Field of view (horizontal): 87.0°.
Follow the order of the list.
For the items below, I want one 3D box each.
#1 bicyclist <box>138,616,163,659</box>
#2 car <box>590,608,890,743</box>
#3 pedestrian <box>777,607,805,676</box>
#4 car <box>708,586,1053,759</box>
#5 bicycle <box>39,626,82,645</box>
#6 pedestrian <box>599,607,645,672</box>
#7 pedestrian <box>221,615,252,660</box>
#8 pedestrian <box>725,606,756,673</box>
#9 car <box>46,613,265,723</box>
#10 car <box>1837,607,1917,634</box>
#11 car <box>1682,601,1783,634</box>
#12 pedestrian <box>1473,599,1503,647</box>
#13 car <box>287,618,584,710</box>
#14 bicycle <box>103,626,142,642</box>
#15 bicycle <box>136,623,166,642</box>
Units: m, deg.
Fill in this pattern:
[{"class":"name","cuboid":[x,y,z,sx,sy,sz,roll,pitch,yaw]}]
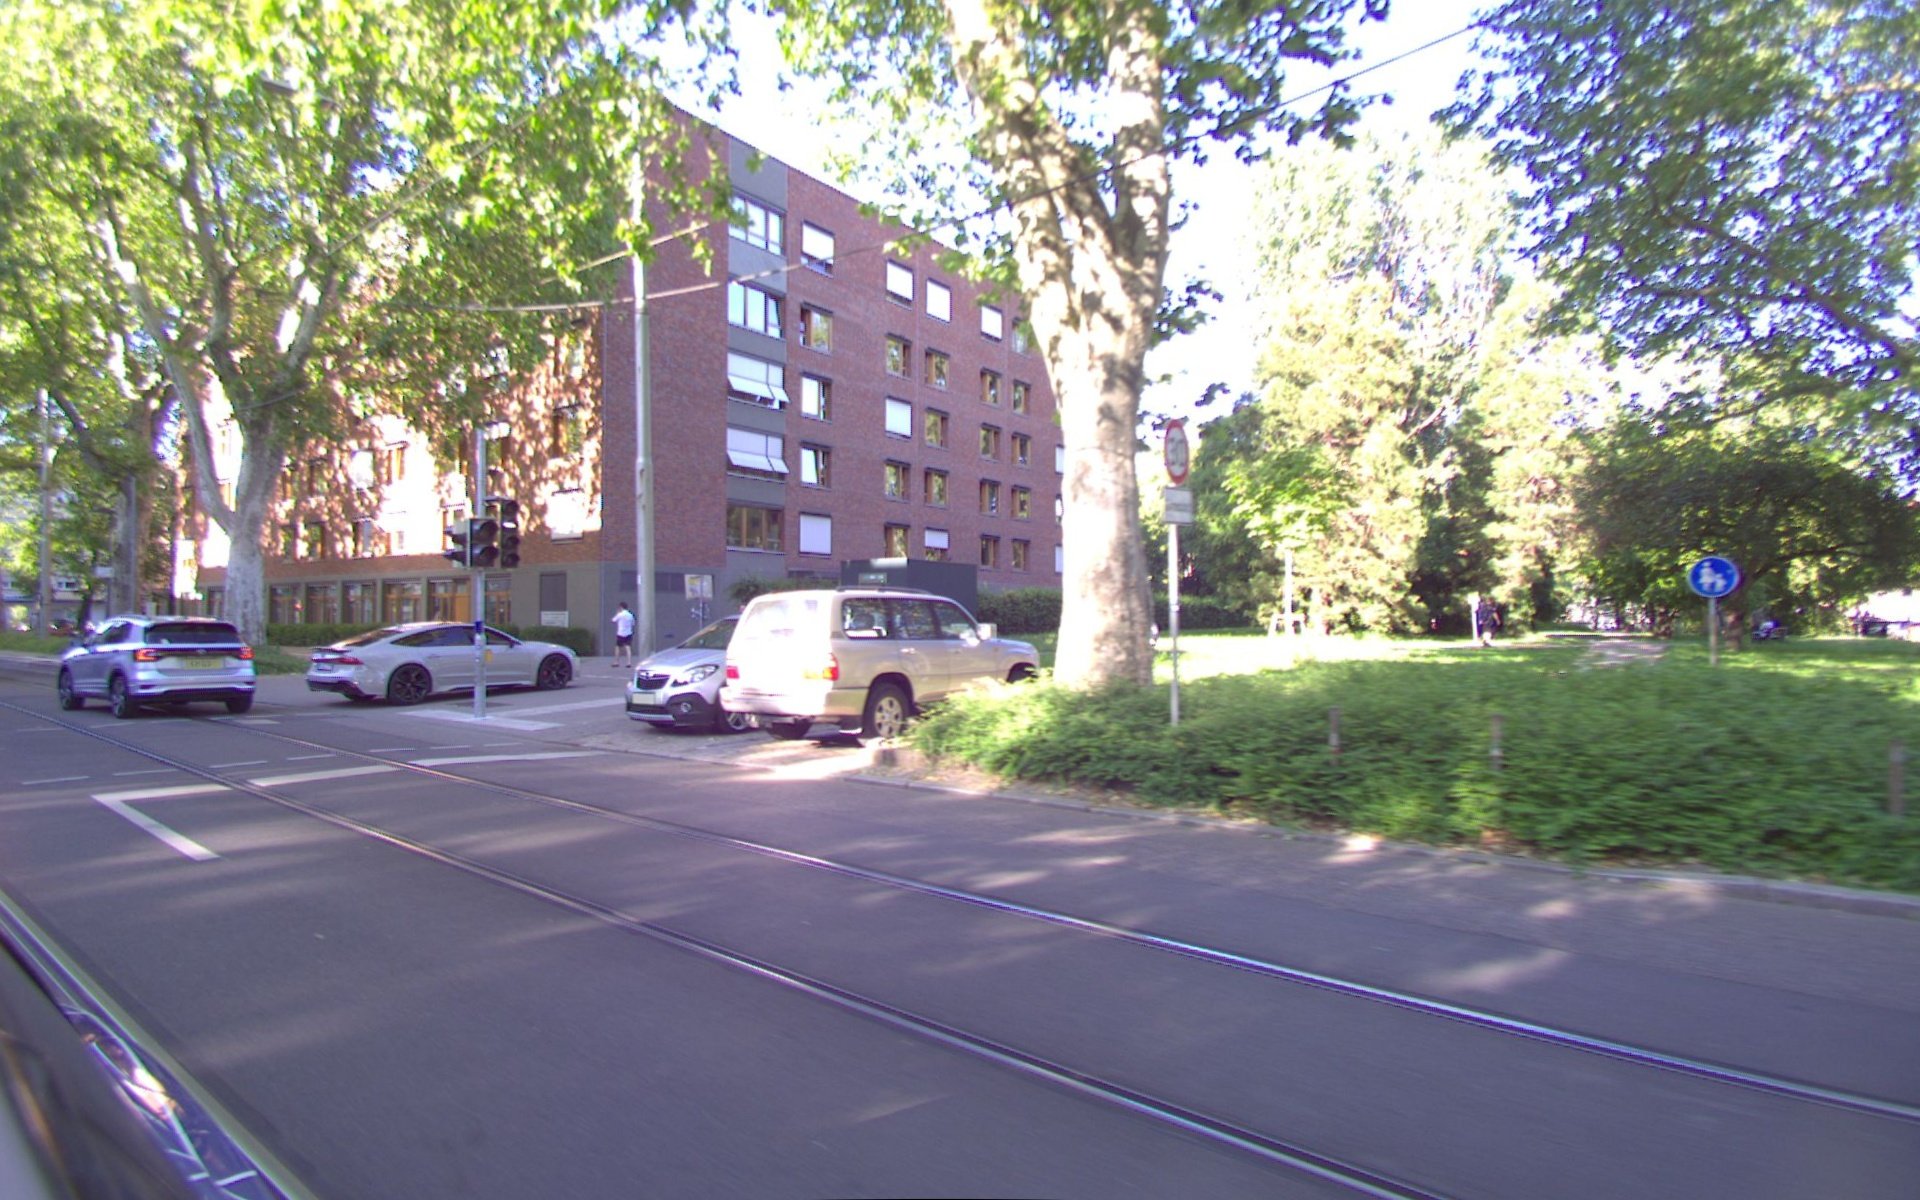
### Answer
[{"class":"bicyclist","cuboid":[-34.875,1.614,43.599,0.838,1.801,0.693,-1,-1,38]},{"class":"car","cuboid":[-3.040,0.955,14.767,1.898,1.659,4.104,-1,0,35]},{"class":"pedestrian","cuboid":[-4.273,1.040,25.553,0.585,1.718,0.532,0,-1,5]},{"class":"car","cuboid":[-0.846,0.784,13.209,1.936,1.848,4.526,-1,-1,39]},{"class":"bicycle","cuboid":[-59.850,2.376,67.372,2.068,1.198,0.883,0,-1,-37]},{"class":"pedestrian","cuboid":[-9.363,1.073,28.020,0.912,1.750,0.836,-1,-1,32]},{"class":"pedestrian","cuboid":[-27.742,1.437,38.799,0.967,1.685,0.731,-1,-1,38]},{"class":"pedestrian","cuboid":[-5.511,0.982,25.424,0.556,1.672,0.694,0,-1,10]},{"class":"car","cuboid":[-13.229,1.034,16.578,4.109,1.580,1.799,-1,-3,37]},{"class":"car","cuboid":[77.981,1.757,86.148,4.728,2.261,1.979,-1,-1,31]},{"class":"car","cuboid":[40.555,0.897,53.181,4.104,1.630,1.871,-1,-1,42]},{"class":"pedestrian","cuboid":[18.963,0.824,36.349,0.767,1.686,0.713,0,-1,-42]},{"class":"car","cuboid":[-9.842,1.111,19.387,1.950,1.471,4.723,-1,0,35]},{"class":"bicycle","cuboid":[-57.803,2.354,69.890,2.009,1.102,0.822,0,0,-1]},{"class":"bicycle","cuboid":[-34.846,1.386,43.565,1.837,0.809,0.605,-1,-1,38]}]
